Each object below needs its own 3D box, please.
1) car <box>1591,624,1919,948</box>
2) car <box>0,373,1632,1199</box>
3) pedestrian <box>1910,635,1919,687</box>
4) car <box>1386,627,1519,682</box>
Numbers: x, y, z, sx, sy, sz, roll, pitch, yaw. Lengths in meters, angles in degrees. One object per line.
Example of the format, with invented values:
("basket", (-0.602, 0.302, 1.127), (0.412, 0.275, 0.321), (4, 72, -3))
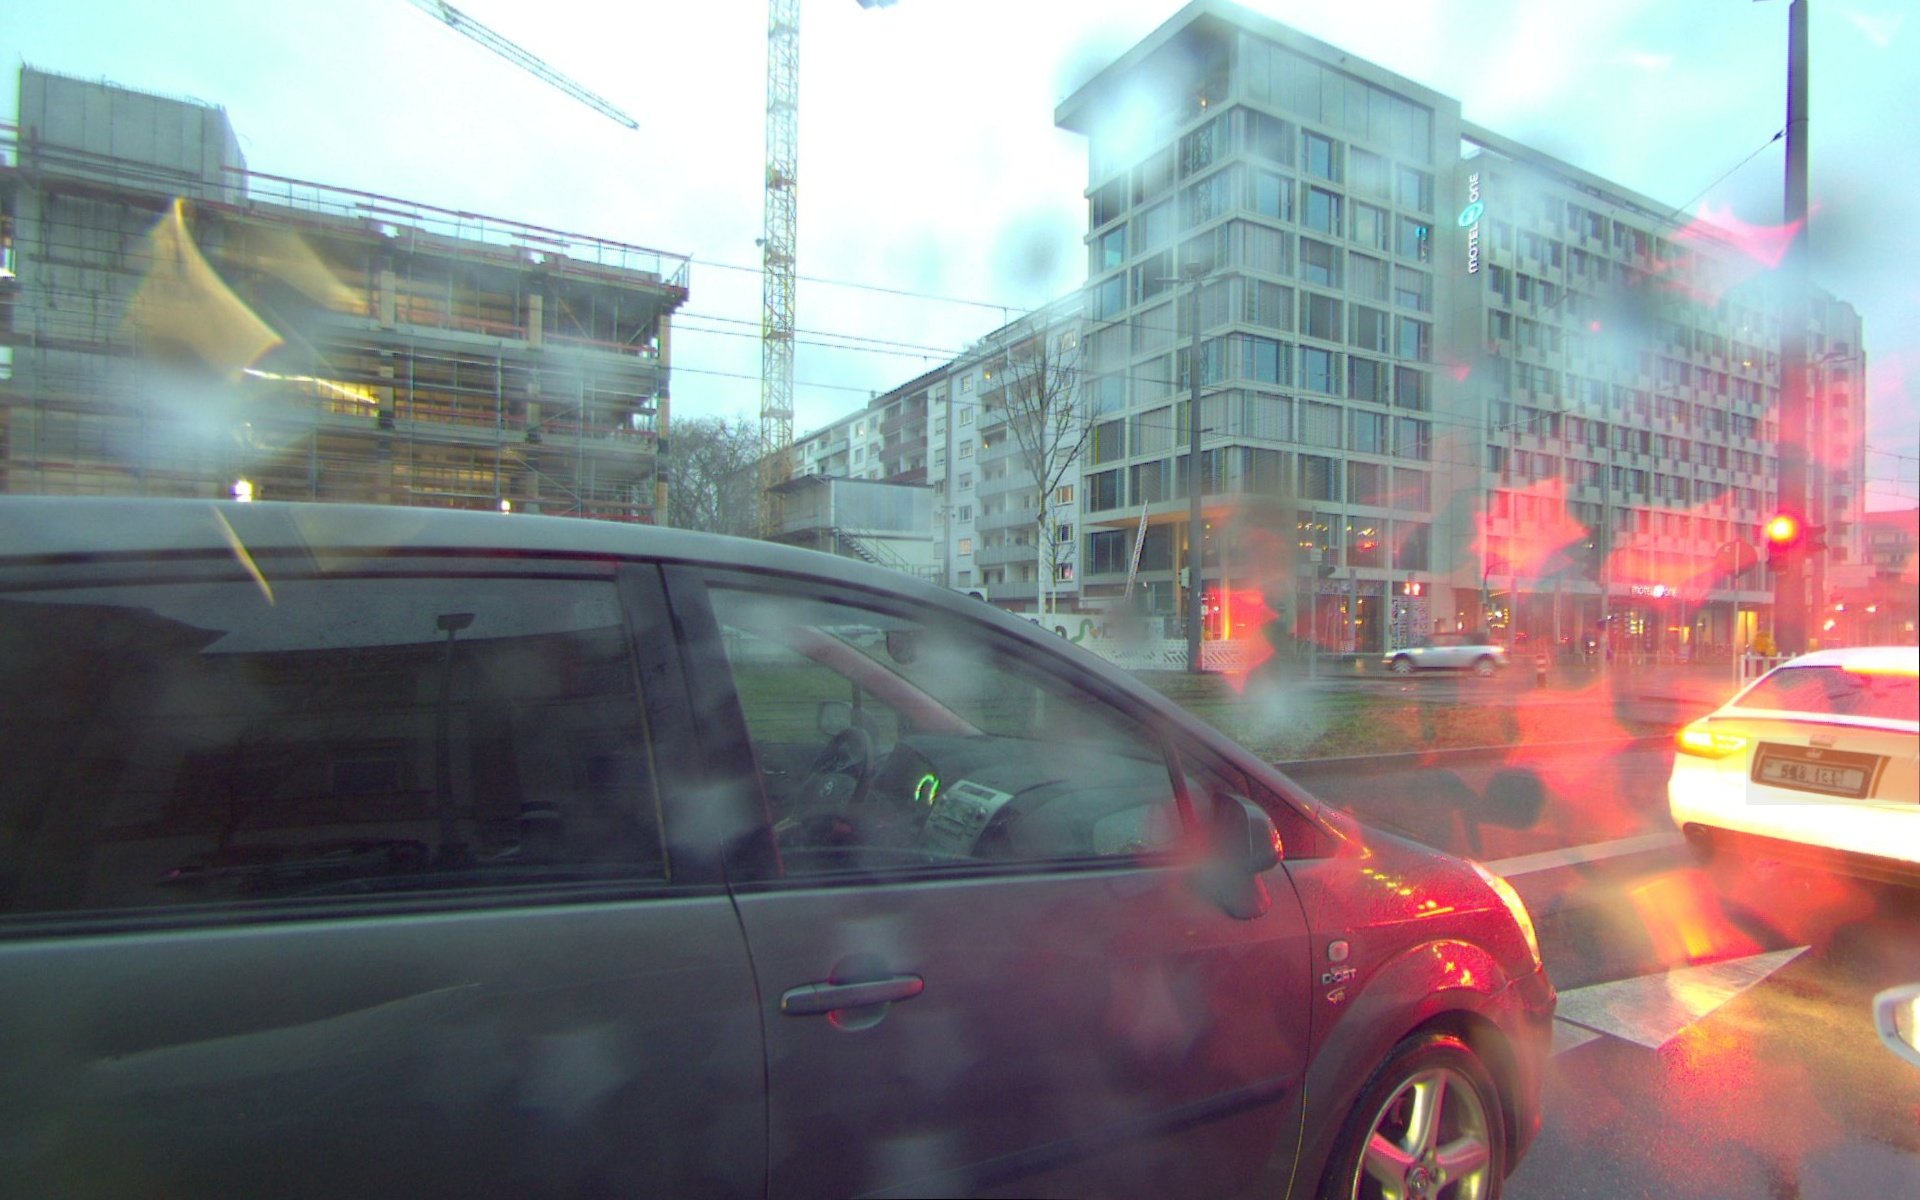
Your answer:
("car", (6.067, 0.927, 6.227), (4.320, 1.475, 1.983), (1, 0, -32))
("car", (-0.558, 0.651, 2.133), (4.089, 1.668, 1.801), (1, 0, -32))
("pedestrian", (32.803, 2.091, 34.047), (0.808, 1.734, 0.782), (2, 0, -45))
("car", (15.899, 1.725, 32.505), (3.638, 1.497, 1.624), (2, 0, 34))
